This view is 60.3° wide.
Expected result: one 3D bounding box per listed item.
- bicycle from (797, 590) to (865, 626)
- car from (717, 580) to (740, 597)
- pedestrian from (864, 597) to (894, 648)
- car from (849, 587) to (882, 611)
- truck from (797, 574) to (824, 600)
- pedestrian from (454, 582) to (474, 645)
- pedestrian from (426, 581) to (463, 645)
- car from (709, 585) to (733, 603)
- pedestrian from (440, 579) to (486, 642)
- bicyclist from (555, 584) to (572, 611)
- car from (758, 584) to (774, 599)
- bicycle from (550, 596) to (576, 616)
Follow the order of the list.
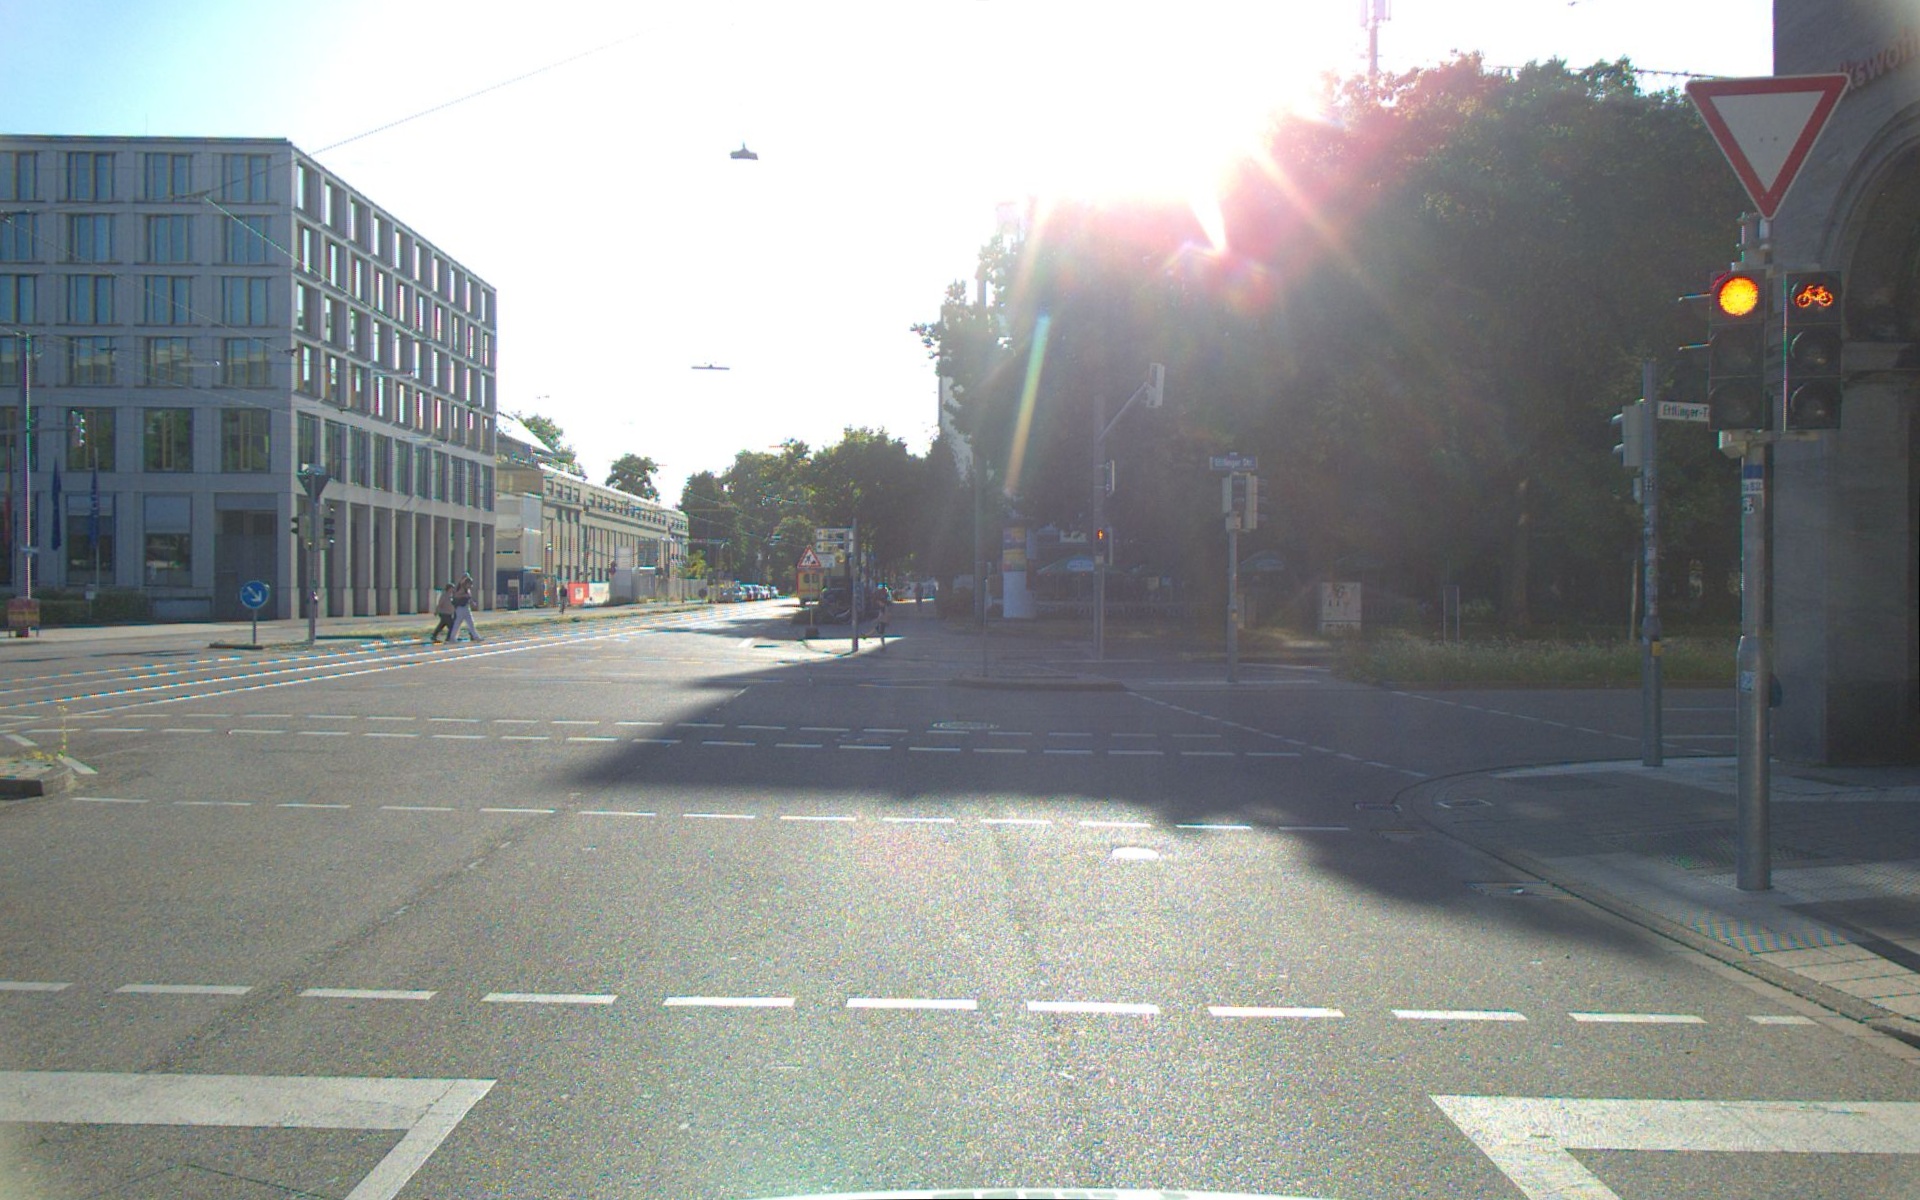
[{"bbox_3d":[-5.230,0.332,67.056,2.688,1.391,0.631,1,-1,10],"label":"bicycle"},{"bbox_3d":[-22.375,-1.108,159.775,1.695,1.682,3.999,0,0,-1],"label":"car"},{"bbox_3d":[-2.154,0.595,44.156,0.736,1.356,0.743,0,0,2],"label":"pedestrian"},{"bbox_3d":[-5.231,-0.058,91.779,1.783,1.301,3.998,0,0,-3],"label":"car"},{"bbox_3d":[-12.273,-1.050,135.613,1.876,2.129,3.999,0,0,-1],"label":"truck"},{"bbox_3d":[-13.405,0.375,44.696,0.432,1.692,0.376,0,0,-2],"label":"pedestrian"},{"bbox_3d":[-13.605,0.346,43.668,0.779,1.668,0.533,0,0,2],"label":"pedestrian"},{"bbox_3d":[-22.458,-0.574,155.668,1.695,1.682,3.999,0,0,-1],"label":"car"},{"bbox_3d":[-12.893,0.276,42.914,0.964,1.615,0.660,0,-1,1],"label":"pedestrian"},{"bbox_3d":[-23.977,-0.150,100.034,0.857,1.670,0.822,0,0,0],"label":"bicyclist"},{"bbox_3d":[-22.648,-0.967,193.232,1.453,1.780,3.999,0,0,-1],"label":"car"},{"bbox_3d":[-23.992,0.344,99.975,0.857,1.140,3.013,0,0,0],"label":"bicycle"}]
